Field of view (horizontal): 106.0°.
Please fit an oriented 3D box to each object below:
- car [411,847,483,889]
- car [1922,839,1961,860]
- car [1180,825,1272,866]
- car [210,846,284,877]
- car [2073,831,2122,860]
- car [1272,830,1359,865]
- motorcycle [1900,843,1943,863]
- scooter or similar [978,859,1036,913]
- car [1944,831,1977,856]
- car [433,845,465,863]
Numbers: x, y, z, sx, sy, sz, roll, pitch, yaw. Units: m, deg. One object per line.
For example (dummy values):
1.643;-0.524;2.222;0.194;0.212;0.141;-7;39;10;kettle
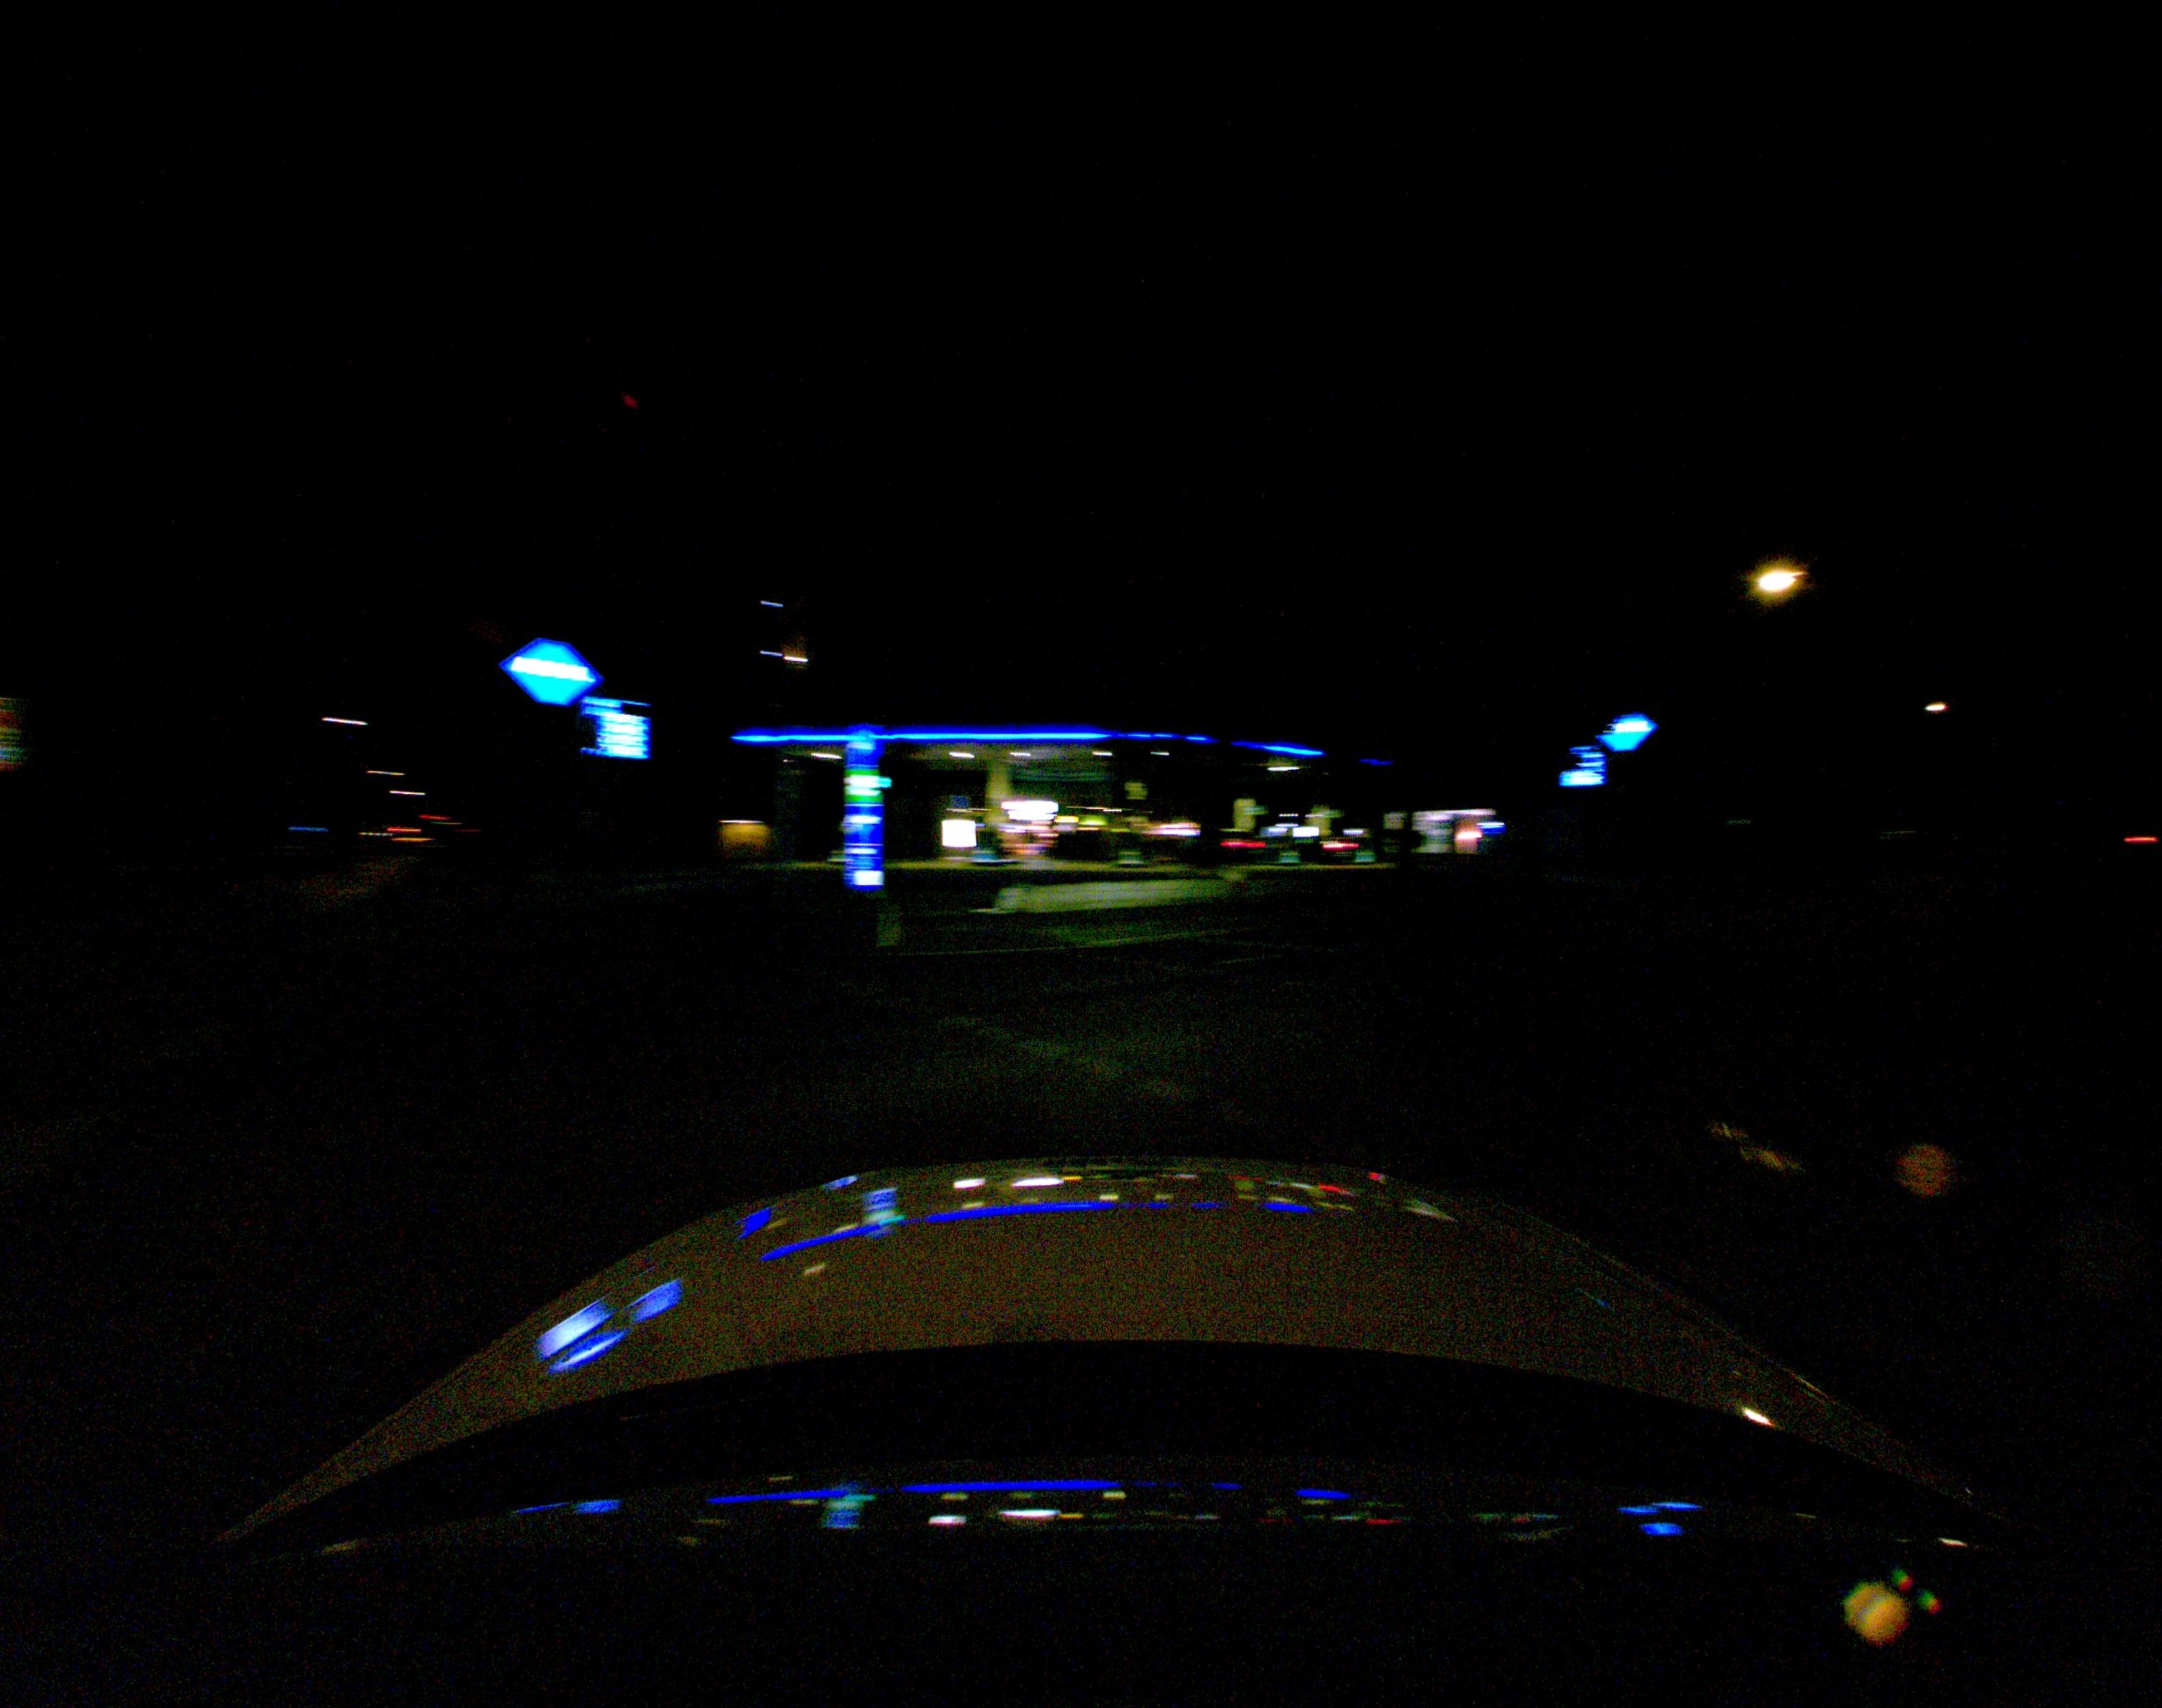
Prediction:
-24.242;0.502;31.278;2.009;1.516;3.956;1;0;-36;car
76.545;-0.405;72.443;4.018;1.843;1.978;0;0;-37;car
6.980;-0.442;39.700;2.008;1.768;4.207;0;3;-34;car
-41.737;0.363;40.843;2.009;1.502;3.955;0;0;-37;car
74.154;-0.590;59.449;4.022;2.014;1.976;0;0;-42;car
12.388;-0.398;43.164;2.010;1.663;3.954;0;3;-40;car
60.795;-0.078;58.910;1.997;1.392;0.882;-1;-1;23;motorcycle
-1.612;0.685;18.046;0.709;1.092;1.688;0;1;15;scooter or similar
89.328;-1.064;82.700;4.506;2.415;1.977;0;-1;-39;car
-53.387;0.029;68.865;2.009;1.520;3.956;0;0;-36;car
